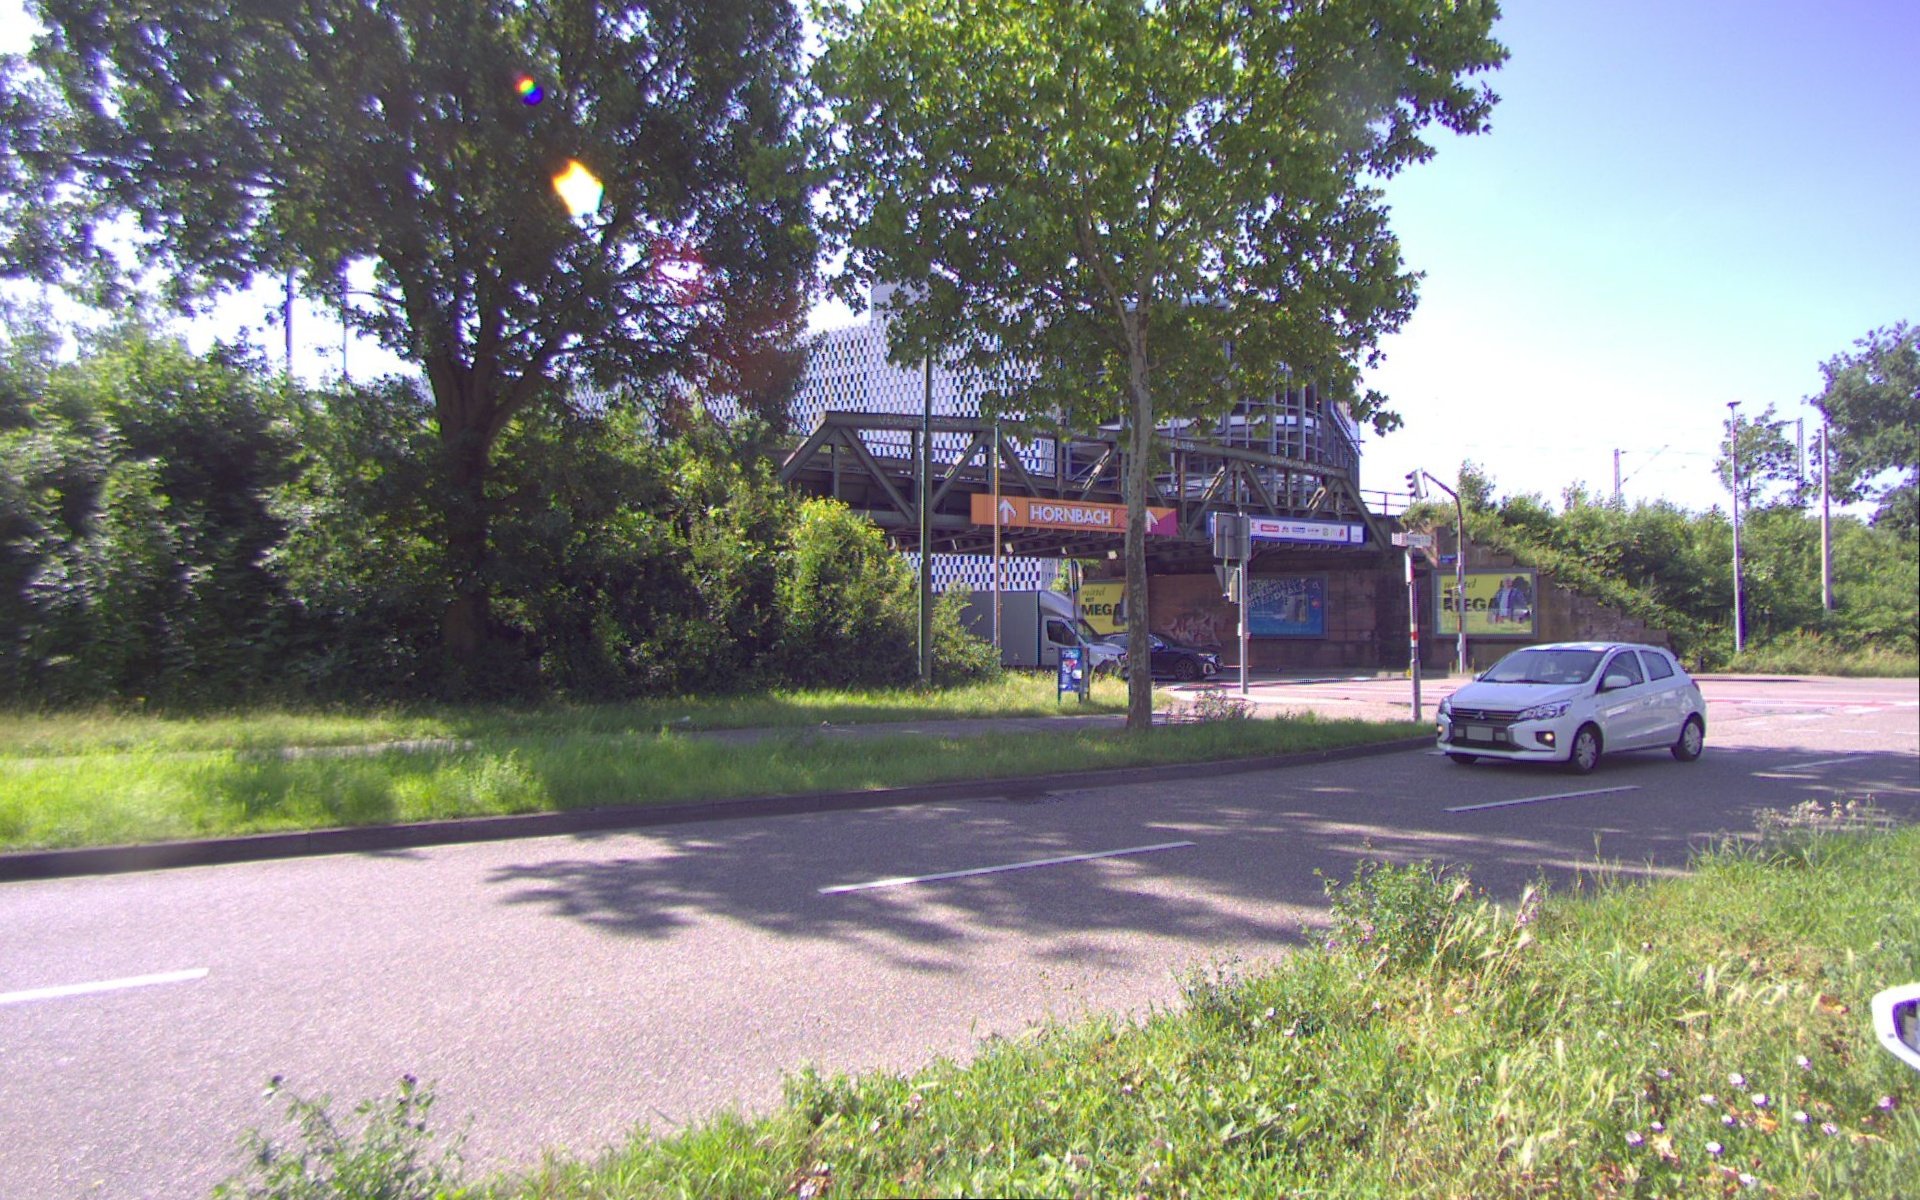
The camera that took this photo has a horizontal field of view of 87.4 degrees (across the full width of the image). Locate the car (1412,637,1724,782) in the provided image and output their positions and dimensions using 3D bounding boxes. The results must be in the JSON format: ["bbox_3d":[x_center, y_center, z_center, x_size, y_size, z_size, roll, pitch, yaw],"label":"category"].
[{"bbox_3d":[7.693,1.256,12.650,3.953,1.528,1.692,1,-2,-30],"label":"car"}]

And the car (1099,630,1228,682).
[{"bbox_3d":[6.943,1.891,34.220,3.926,1.668,1.902,-2,-2,27],"label":"car"}]

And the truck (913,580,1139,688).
[{"bbox_3d":[2.014,1.117,31.724,6.739,3.146,2.216,-2,-2,27],"label":"truck"}]
